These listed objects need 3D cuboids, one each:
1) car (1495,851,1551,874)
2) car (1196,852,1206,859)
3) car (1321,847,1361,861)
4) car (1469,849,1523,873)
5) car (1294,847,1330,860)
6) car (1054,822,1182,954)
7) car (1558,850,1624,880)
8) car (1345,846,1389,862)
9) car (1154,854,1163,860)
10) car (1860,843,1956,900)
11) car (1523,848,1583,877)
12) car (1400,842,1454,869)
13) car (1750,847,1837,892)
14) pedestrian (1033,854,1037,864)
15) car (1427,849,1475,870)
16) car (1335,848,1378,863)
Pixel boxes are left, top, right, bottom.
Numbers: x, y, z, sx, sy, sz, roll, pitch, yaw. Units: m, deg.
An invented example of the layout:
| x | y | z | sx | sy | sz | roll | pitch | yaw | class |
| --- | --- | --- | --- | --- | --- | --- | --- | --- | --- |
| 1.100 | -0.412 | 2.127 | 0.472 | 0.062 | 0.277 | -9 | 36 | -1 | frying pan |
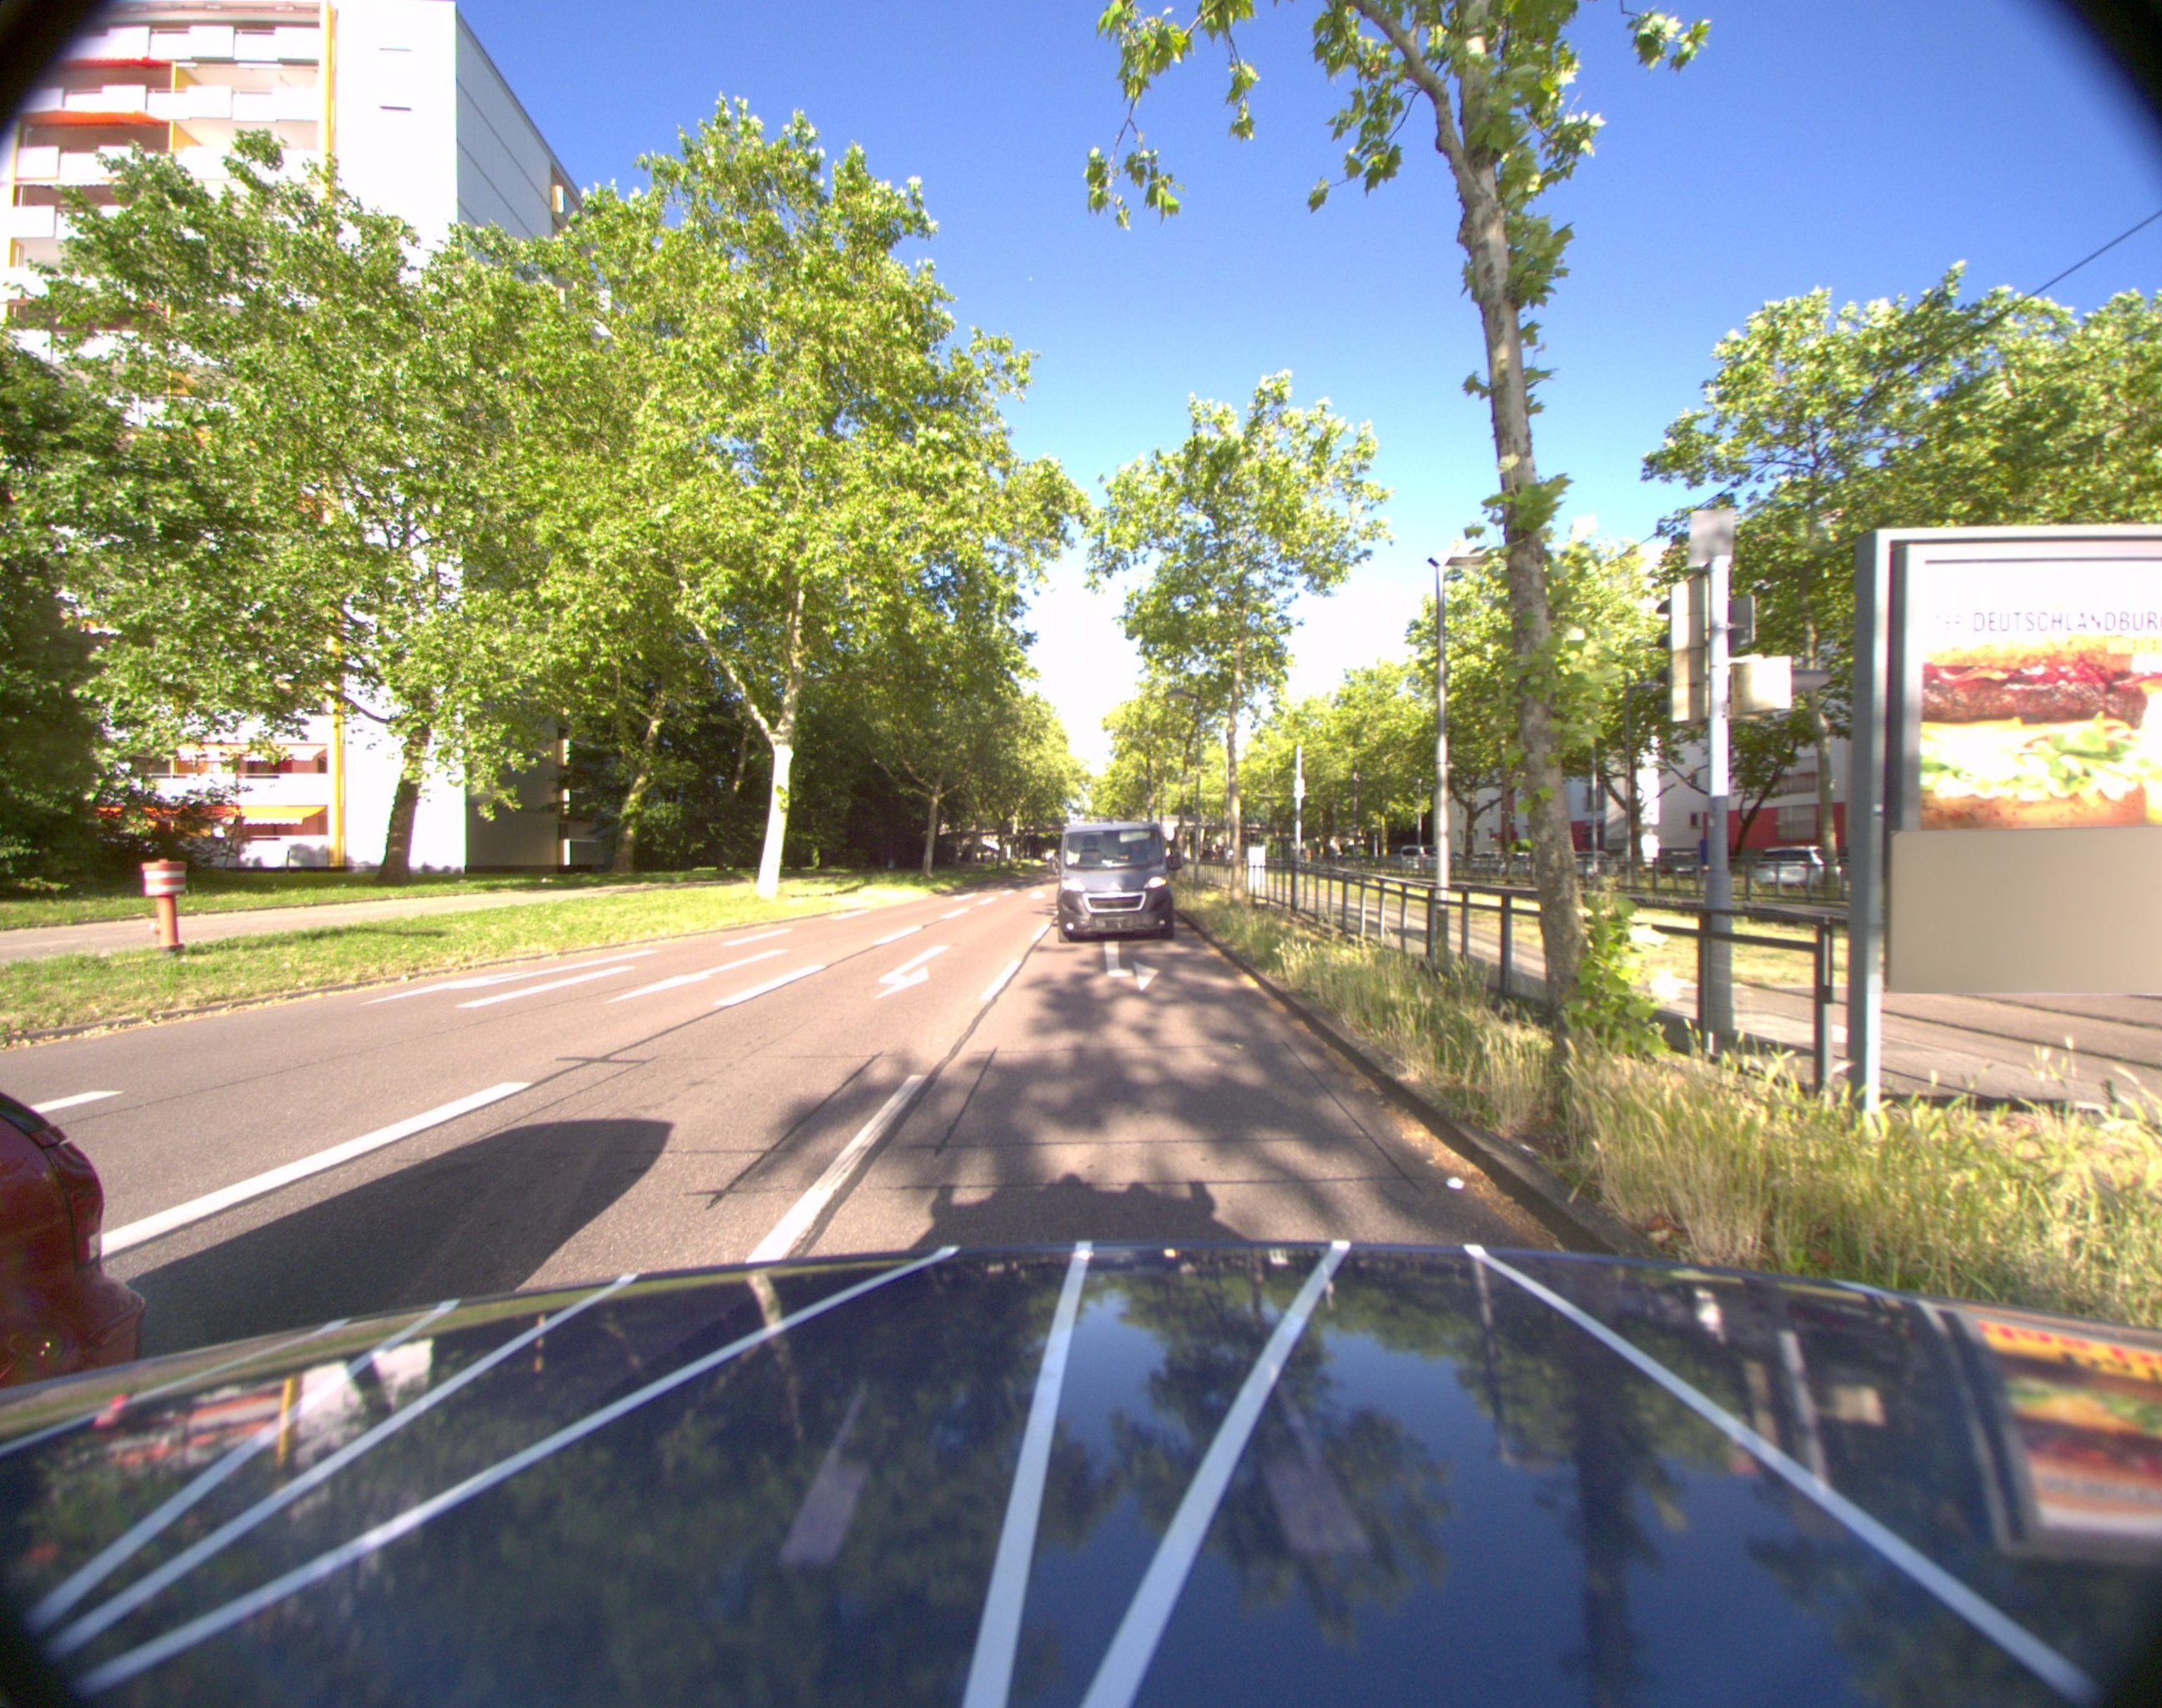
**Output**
| x | y | z | sx | sy | sz | roll | pitch | yaw | class |
| --- | --- | --- | --- | --- | --- | --- | --- | --- | --- |
| 26.200 | 0.485 | 44.956 | 3.689 | 1.234 | 1.645 | -1 | 1 | -39 | car |
| 25.855 | 0.361 | 163.196 | 1.672 | 1.351 | 3.295 | -1 | 0 | 1 | car |
| 27.244 | 0.028 | 79.571 | 4.376 | 1.367 | 1.919 | -1 | 1 | -39 | car |
| 25.957 | 0.419 | 47.491 | 3.689 | 1.440 | 1.645 | -1 | 1 | -39 | car |
| 27.203 | -0.056 | 89.424 | 4.376 | 1.367 | 1.919 | -1 | 1 | -39 | car |
| 0.635 | 0.541 | 14.984 | 2.040 | 2.102 | 5.113 | -1 | 0 | 1 | car |
| 25.330 | 0.504 | 37.686 | 3.689 | 1.384 | 1.645 | -1 | 1 | -38 | car |
| 26.574 | 0.005 | 70.522 | 4.376 | 1.367 | 1.919 | -1 | 1 | -39 | car |
| 20.991 | 0.754 | 206.125 | 1.923 | 1.565 | 4.368 | -1 | 0 | 2 | car |
| 25.018 | 0.465 | 22.956 | 3.689 | 1.558 | 1.683 | -1 | 1 | -38 | car |
| 25.811 | 0.433 | 41.514 | 3.689 | 1.440 | 1.645 | -1 | 1 | -39 | car |
| 25.962 | 0.089 | 56.988 | 4.376 | 1.873 | 1.919 | -1 | 1 | -39 | car |
| 25.056 | 0.498 | 26.682 | 3.689 | 1.425 | 1.683 | -1 | 1 | -38 | car |
| -6.399 | 0.672 | 105.507 | 0.417 | 1.454 | 0.398 | -1 | 1 | -8 | pedestrian |
| 26.246 | 0.351 | 53.894 | 3.689 | 1.388 | 1.645 | -1 | 1 | -39 | car |
| 26.590 | 0.103 | 73.274 | 4.376 | 1.367 | 1.919 | -1 | 1 | -39 | car |
